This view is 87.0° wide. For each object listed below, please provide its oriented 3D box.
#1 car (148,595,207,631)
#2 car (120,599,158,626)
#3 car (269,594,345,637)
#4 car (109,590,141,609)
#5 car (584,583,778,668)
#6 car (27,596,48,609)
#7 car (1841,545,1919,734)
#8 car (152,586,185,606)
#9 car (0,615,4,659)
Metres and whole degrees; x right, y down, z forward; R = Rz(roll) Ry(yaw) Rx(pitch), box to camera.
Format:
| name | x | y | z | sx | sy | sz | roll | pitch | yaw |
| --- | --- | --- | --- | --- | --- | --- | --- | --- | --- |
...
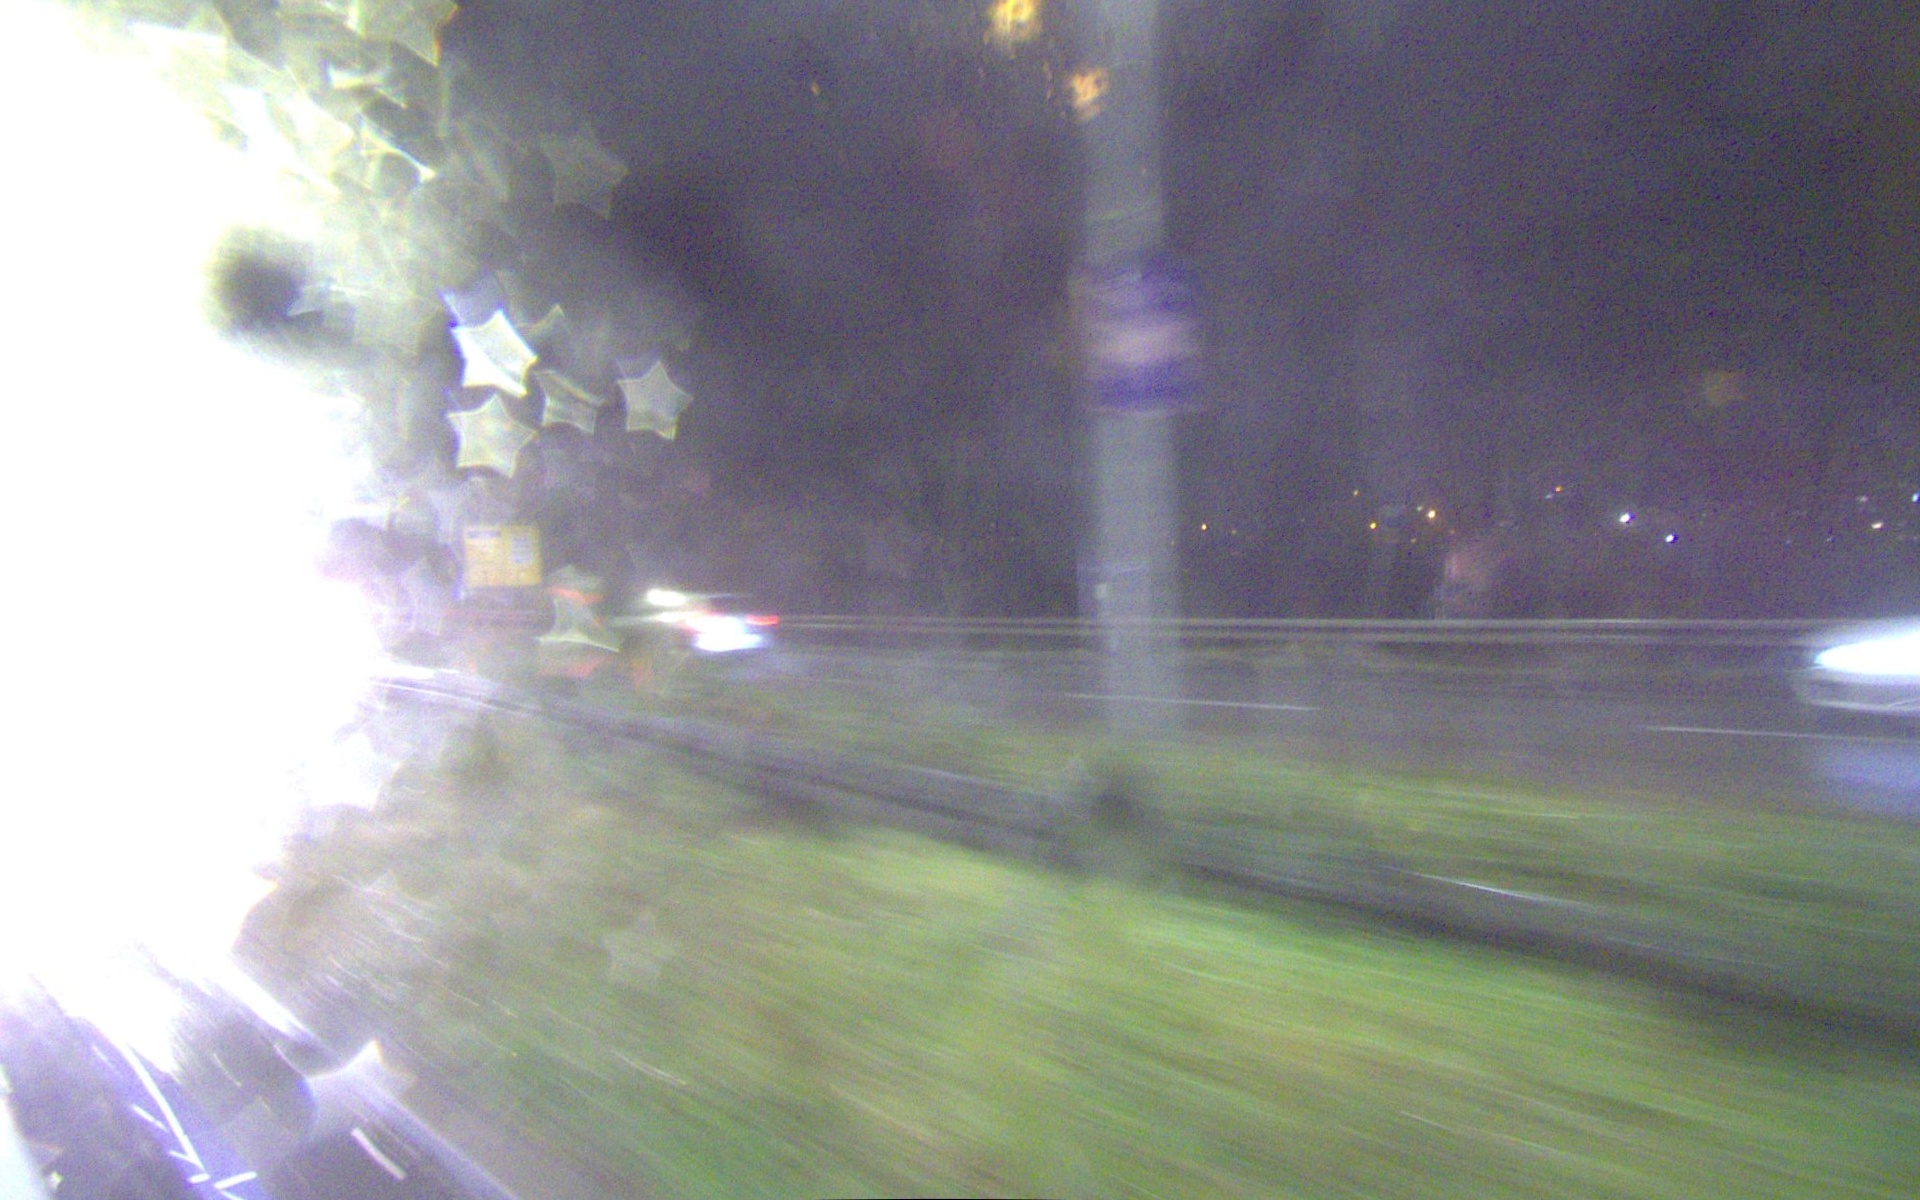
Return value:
| name | x | y | z | sx | sy | sz | roll | pitch | yaw |
| --- | --- | --- | --- | --- | --- | --- | --- | --- | --- |
| car | -36.808 | 0.618 | 47.573 | 1.827 | 1.583 | 3.510 | -3 | 1 | -43 |
| car | -58.790 | 0.865 | 72.449 | 1.745 | 1.643 | 4.254 | -3 | 4 | -44 |
| car | -26.146 | 0.581 | 40.466 | 1.753 | 1.605 | 4.565 | -2 | 1 | -43 |
| car | -74.066 | -0.061 | 89.734 | 1.848 | 1.619 | 4.253 | -3 | 3 | -43 |
| car | -5.570 | 0.467 | 20.022 | 3.936 | 1.507 | 1.718 | 0 | 0 | 38 |
| car | -128.527 | 0.307 | 141.022 | 1.969 | 1.691 | 4.007 | -4 | 3 | -40 |
| car | 9.693 | 0.255 | 7.466 | 4.565 | 1.468 | 1.775 | -2 | -1 | 34 |
| car | -80.567 | -0.431 | 103.010 | 3.999 | 1.873 | 1.851 | 0 | 3 | 42 |
| car | -46.458 | 1.745 | 47.531 | 4.001 | 2.028 | 1.972 | 0 | 3 | 43 |
